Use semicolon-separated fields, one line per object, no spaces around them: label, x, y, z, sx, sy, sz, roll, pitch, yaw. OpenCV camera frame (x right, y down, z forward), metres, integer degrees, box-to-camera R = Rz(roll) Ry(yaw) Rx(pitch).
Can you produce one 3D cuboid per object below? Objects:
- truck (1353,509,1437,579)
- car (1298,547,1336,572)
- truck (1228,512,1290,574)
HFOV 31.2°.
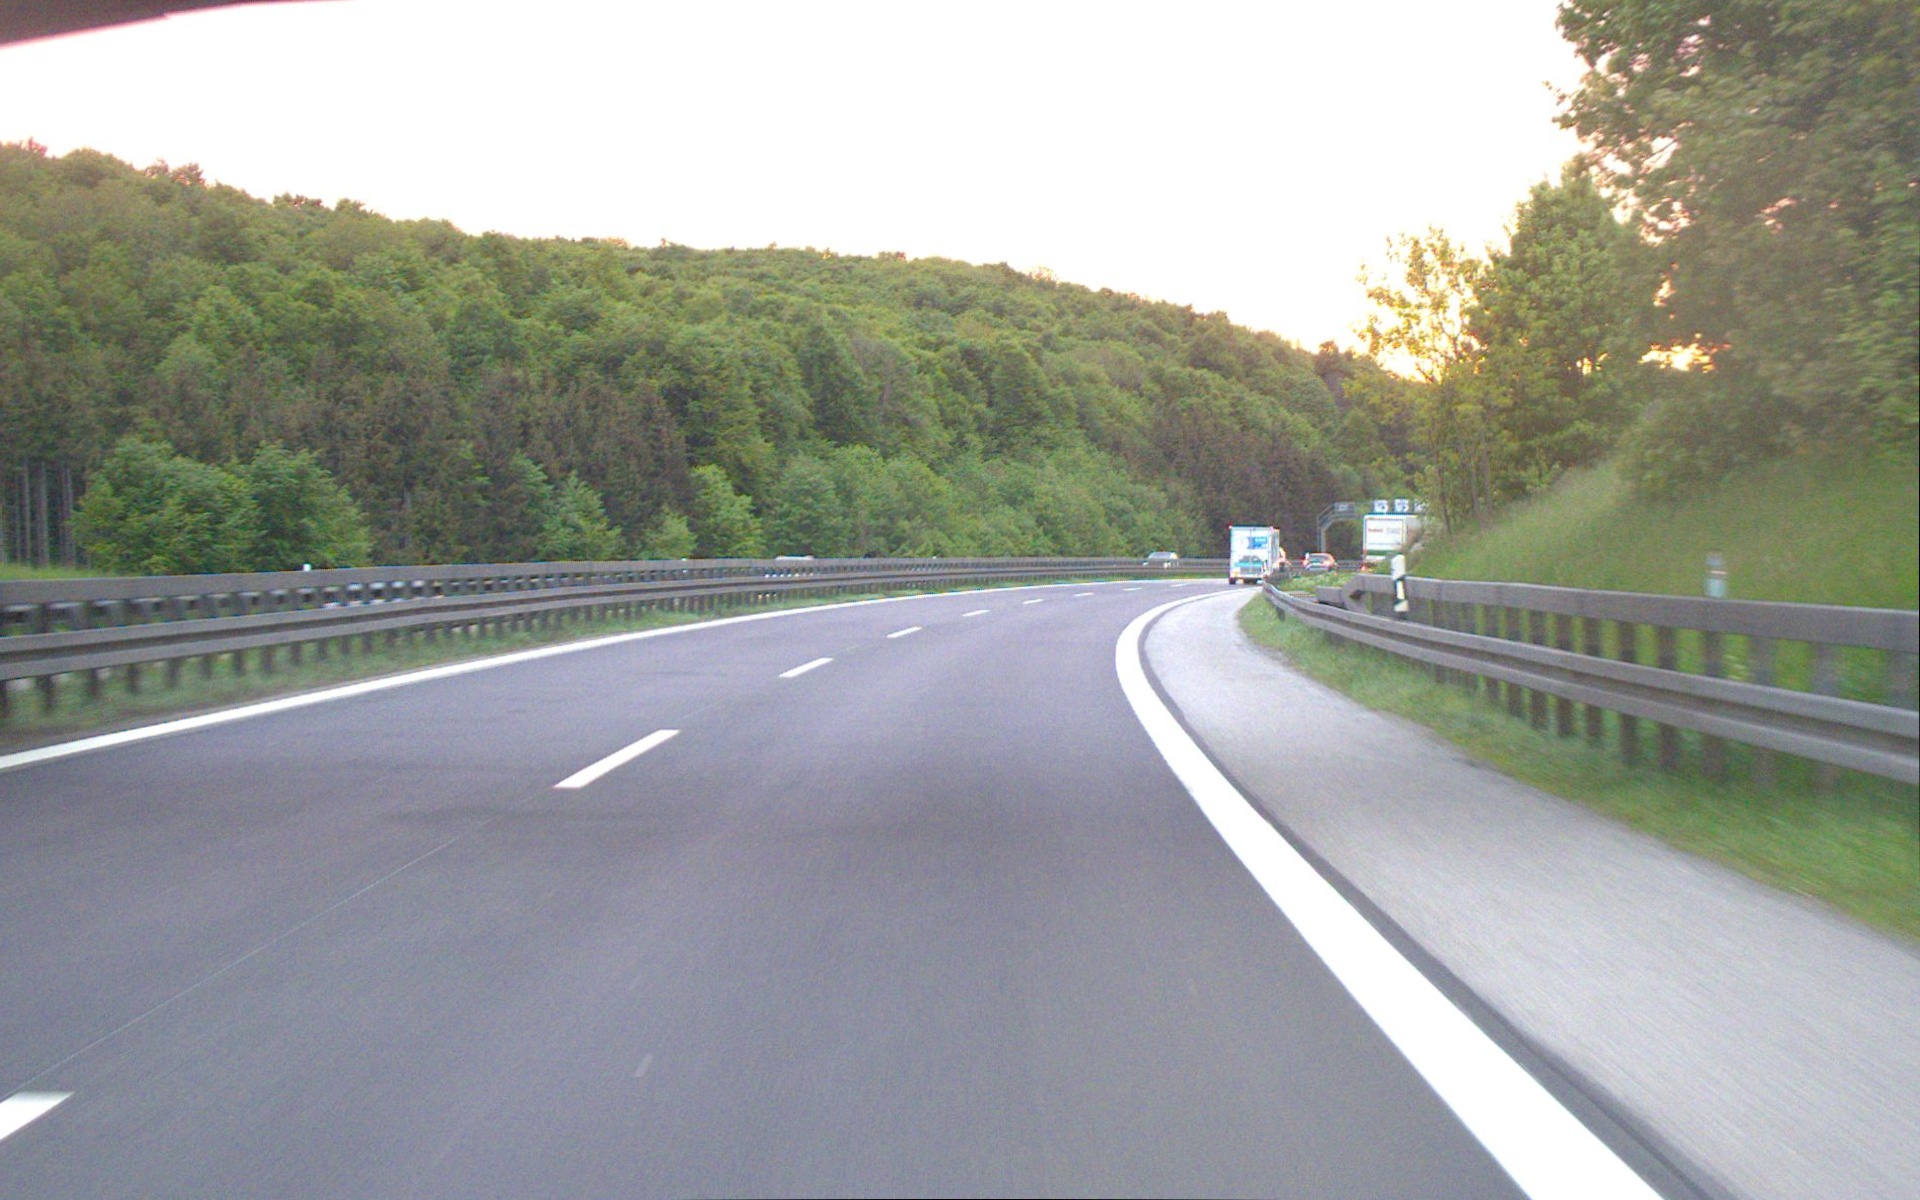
truck;27.734;-3.609;218.638;3.960;4.272;14.316;0;1;13
car;22.279;-2.542;214.474;1.994;1.512;3.998;0;1;12
truck;13.809;-2.665;158.632;2.277;2.655;5.234;-1;2;11
